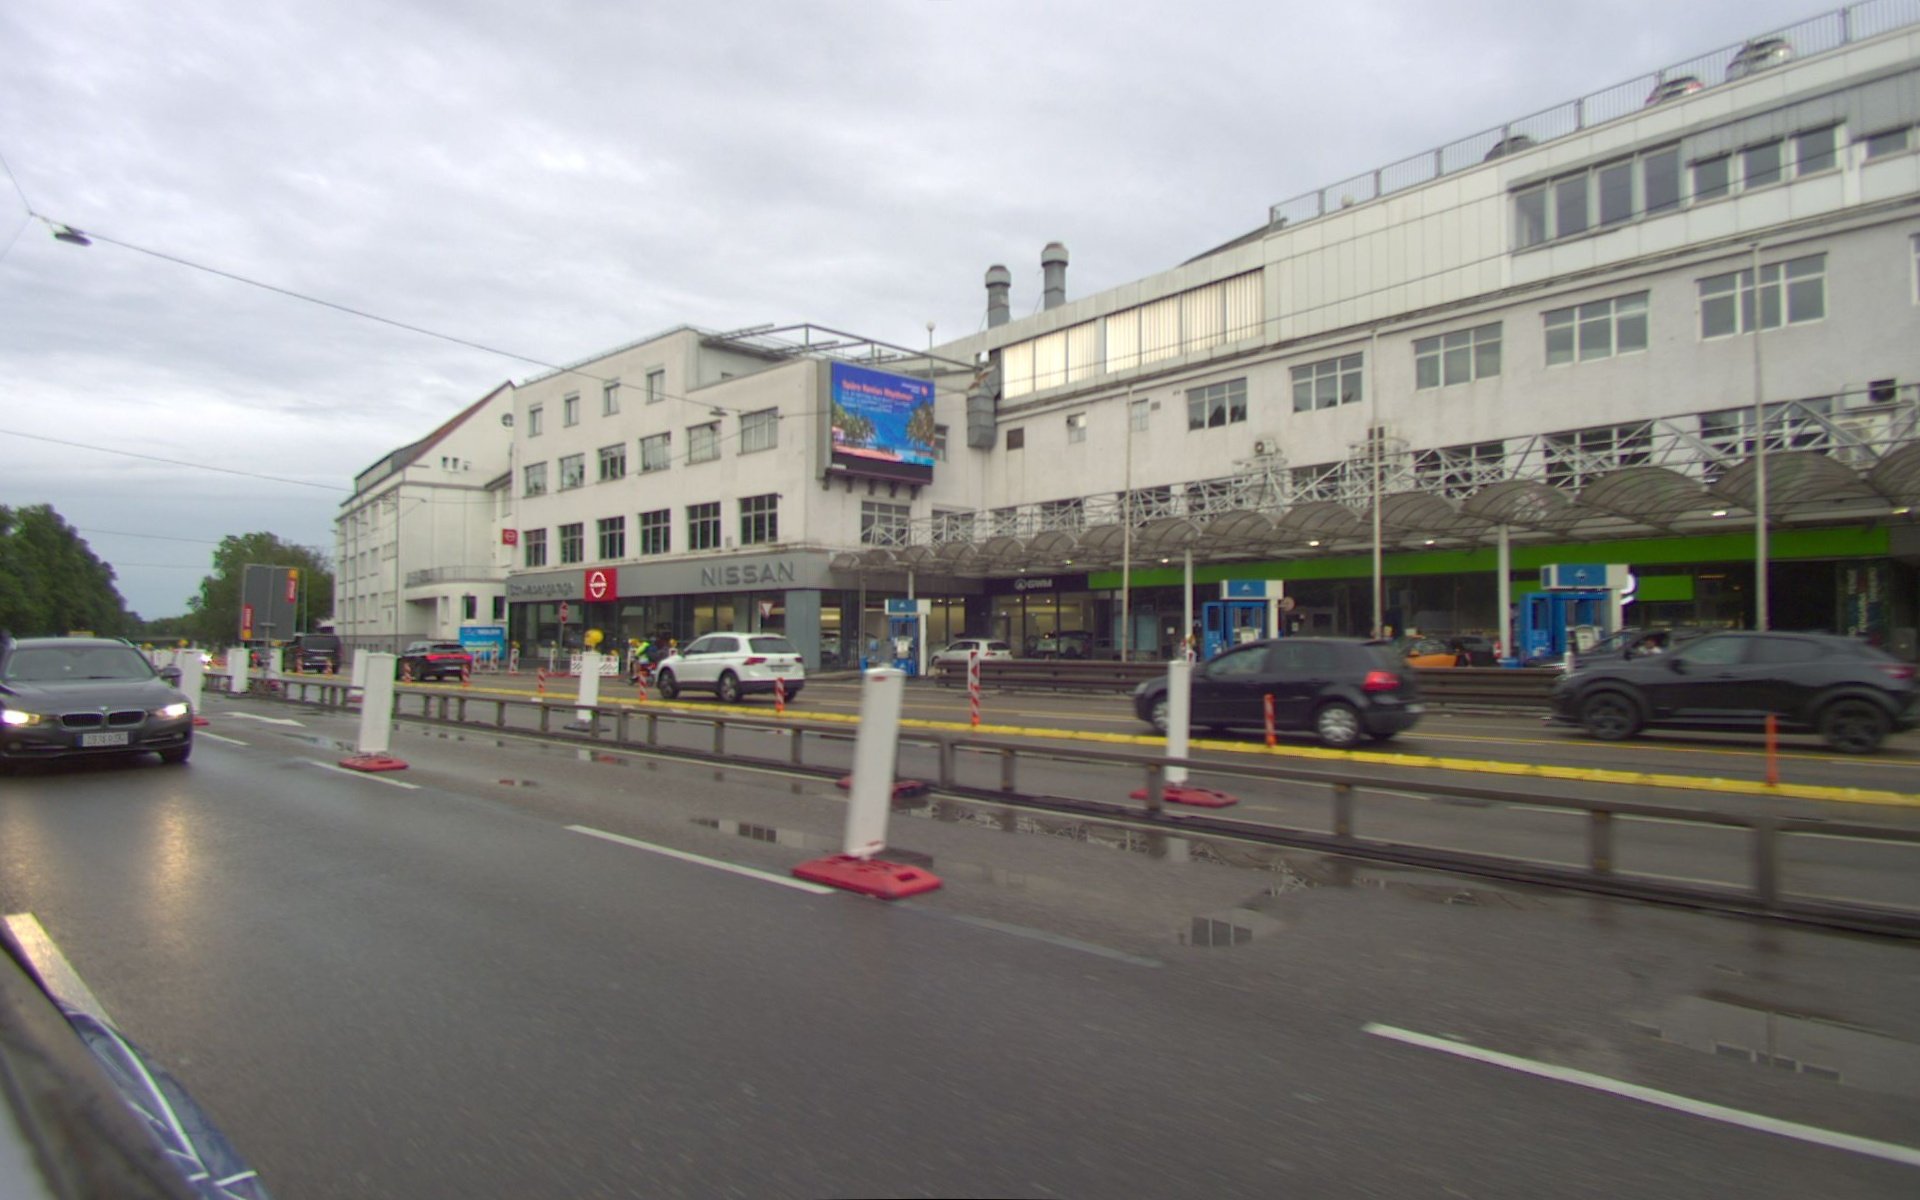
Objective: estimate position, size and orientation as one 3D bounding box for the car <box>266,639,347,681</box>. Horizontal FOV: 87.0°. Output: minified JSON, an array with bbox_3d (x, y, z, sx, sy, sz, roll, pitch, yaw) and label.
[{"bbox_3d":[-31.771,2.894,49.144,5.230,1.951,1.972,-2,-5,42],"label":"car"}]

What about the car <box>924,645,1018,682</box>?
[{"bbox_3d":[0.448,2.732,43.937,3.968,1.494,1.793,-2,-4,44],"label":"car"}]

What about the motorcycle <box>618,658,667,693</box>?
[{"bbox_3d":[-10.573,2.498,33.673,2.027,1.111,0.572,-2,-4,43],"label":"motorcycle"}]

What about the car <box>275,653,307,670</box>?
[{"bbox_3d":[-60.727,5.567,91.831,1.713,1.425,3.712,4,-4,-44],"label":"car"}]

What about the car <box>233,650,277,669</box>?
[{"bbox_3d":[-51.697,4.354,74.213,1.777,1.362,4.814,4,-4,-45],"label":"car"}]

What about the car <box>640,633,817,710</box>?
[{"bbox_3d":[-5.709,1.699,24.672,4.578,1.703,1.918,-3,-4,42],"label":"car"}]

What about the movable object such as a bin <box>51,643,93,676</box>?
[{"bbox_3d":[-59.485,4.004,67.832,1.969,2.128,3.855,3,-5,-40],"label":"movable object such as a bin"}]

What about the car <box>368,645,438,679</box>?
[{"bbox_3d":[-27.401,3.037,49.746,4.264,1.597,1.728,-2,-4,43],"label":"car"}]

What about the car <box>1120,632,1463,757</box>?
[{"bbox_3d":[4.678,1.269,14.645,4.298,1.533,1.938,-3,-4,42],"label":"car"}]

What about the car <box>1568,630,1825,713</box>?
[{"bbox_3d":[16.365,1.597,22.611,4.409,1.692,2.017,1,-4,-8],"label":"car"}]

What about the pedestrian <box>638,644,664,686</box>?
[{"bbox_3d":[-10.172,2.139,33.342,0.561,1.374,0.582,-3,-5,41],"label":"pedestrian"}]

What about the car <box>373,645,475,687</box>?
[{"bbox_3d":[-19.994,2.422,37.696,4.706,1.477,1.831,-2,-4,42],"label":"car"}]

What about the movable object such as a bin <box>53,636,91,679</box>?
[{"bbox_3d":[-62.943,4.092,71.756,1.799,2.935,3.612,4,-6,-40],"label":"movable object such as a bin"}]

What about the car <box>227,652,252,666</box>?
[{"bbox_3d":[-75.959,6.225,106.708,1.680,1.475,4.123,5,-6,-41],"label":"car"}]

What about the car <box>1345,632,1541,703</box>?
[{"bbox_3d":[13.034,1.833,27.463,4.375,1.784,1.970,1,-4,-8],"label":"car"}]

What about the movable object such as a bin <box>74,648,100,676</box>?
[{"bbox_3d":[-67.084,4.772,77.809,1.378,2.060,4.092,3,-5,-40],"label":"movable object such as a bin"}]

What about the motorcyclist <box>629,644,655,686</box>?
[{"bbox_3d":[-10.592,2.156,33.718,0.561,1.374,0.582,-3,-5,41],"label":"motorcyclist"}]

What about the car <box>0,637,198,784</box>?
[{"bbox_3d":[-10.617,1.206,12.014,4.177,1.461,1.740,-3,-4,42],"label":"car"}]

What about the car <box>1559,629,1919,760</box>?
[{"bbox_3d":[10.656,1.214,13.745,4.076,1.548,1.692,-3,-5,41],"label":"car"}]
